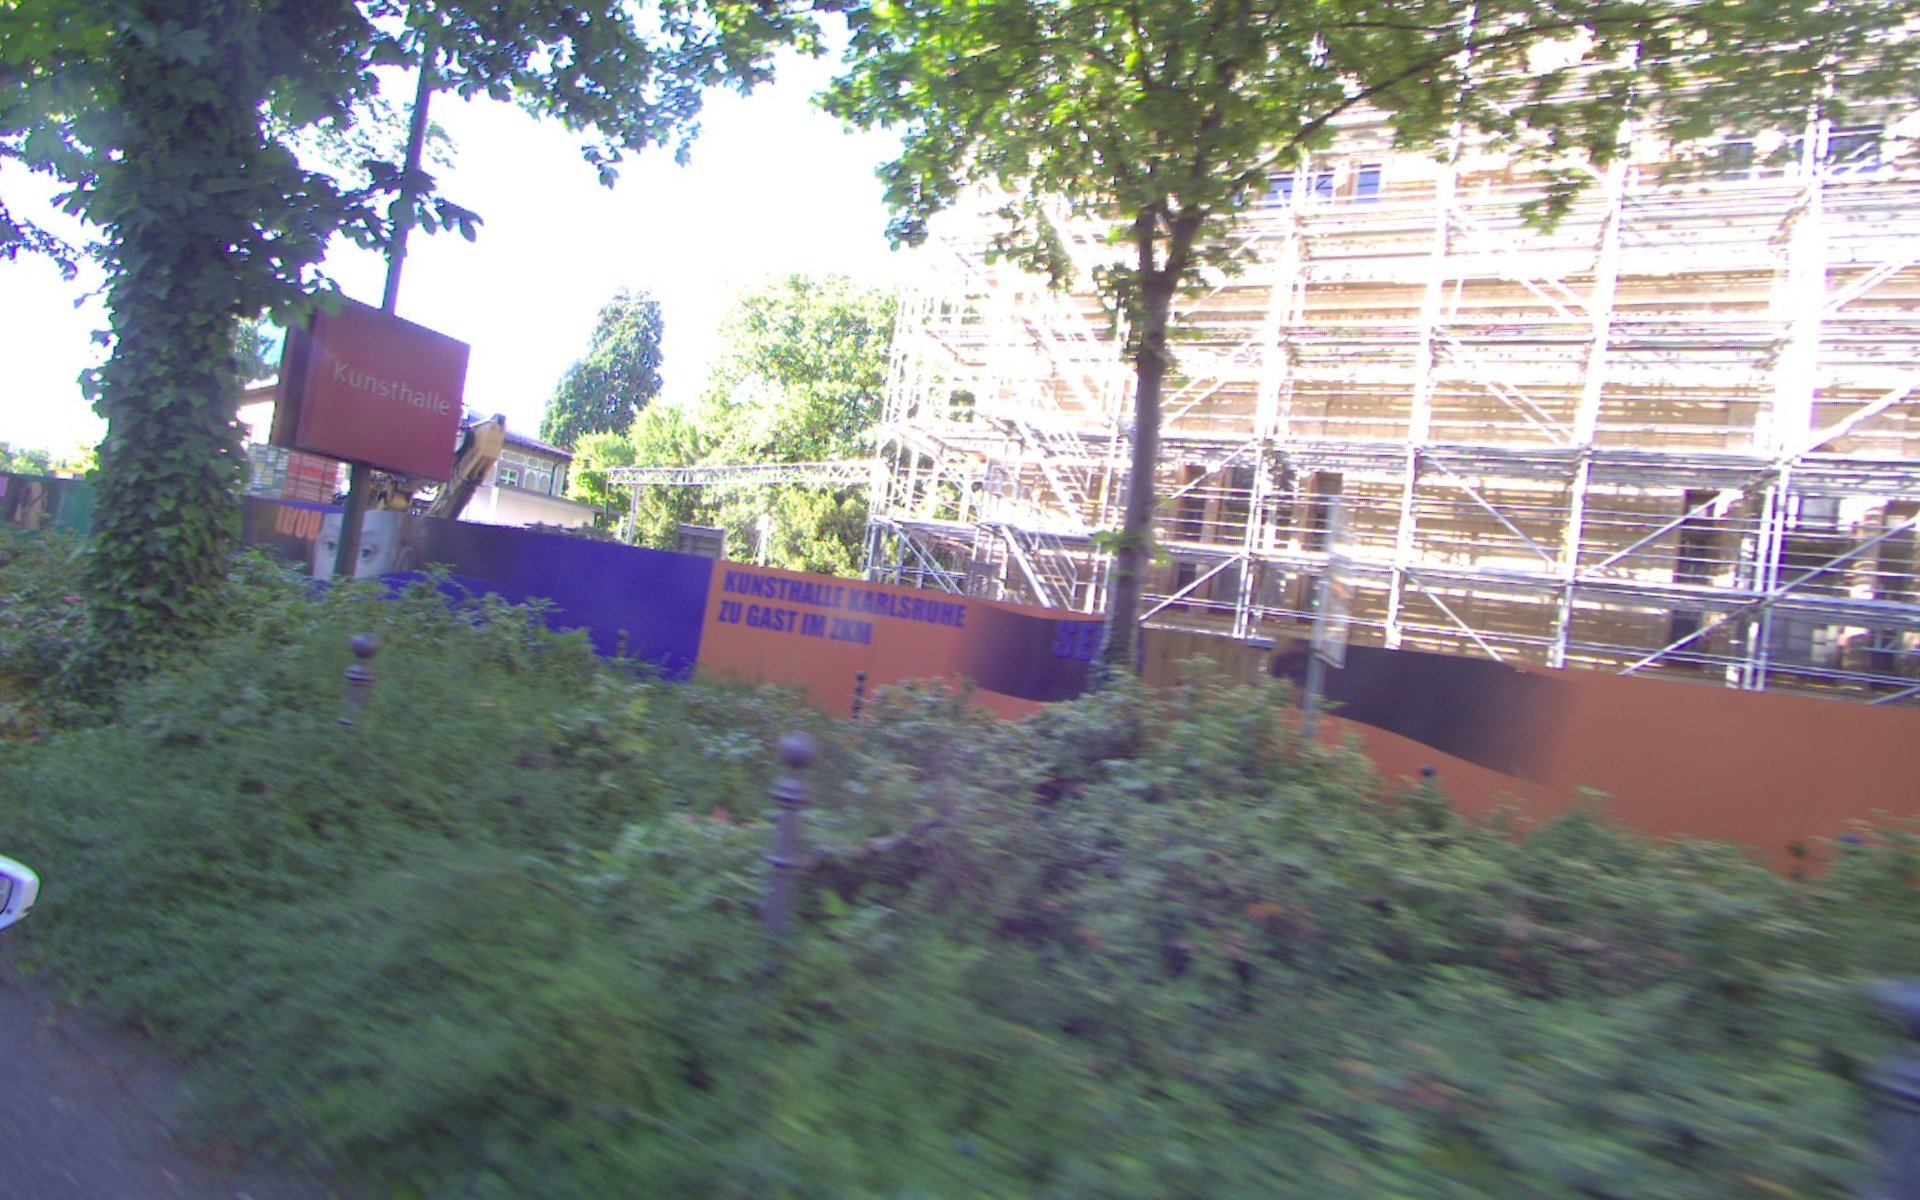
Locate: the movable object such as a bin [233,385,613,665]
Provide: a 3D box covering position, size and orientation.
[{"bbox_3d":[-11.202,-1.545,20.677,7.781,4.591,3.311,7,-2,36],"label":"movable object such as a bin"}]
